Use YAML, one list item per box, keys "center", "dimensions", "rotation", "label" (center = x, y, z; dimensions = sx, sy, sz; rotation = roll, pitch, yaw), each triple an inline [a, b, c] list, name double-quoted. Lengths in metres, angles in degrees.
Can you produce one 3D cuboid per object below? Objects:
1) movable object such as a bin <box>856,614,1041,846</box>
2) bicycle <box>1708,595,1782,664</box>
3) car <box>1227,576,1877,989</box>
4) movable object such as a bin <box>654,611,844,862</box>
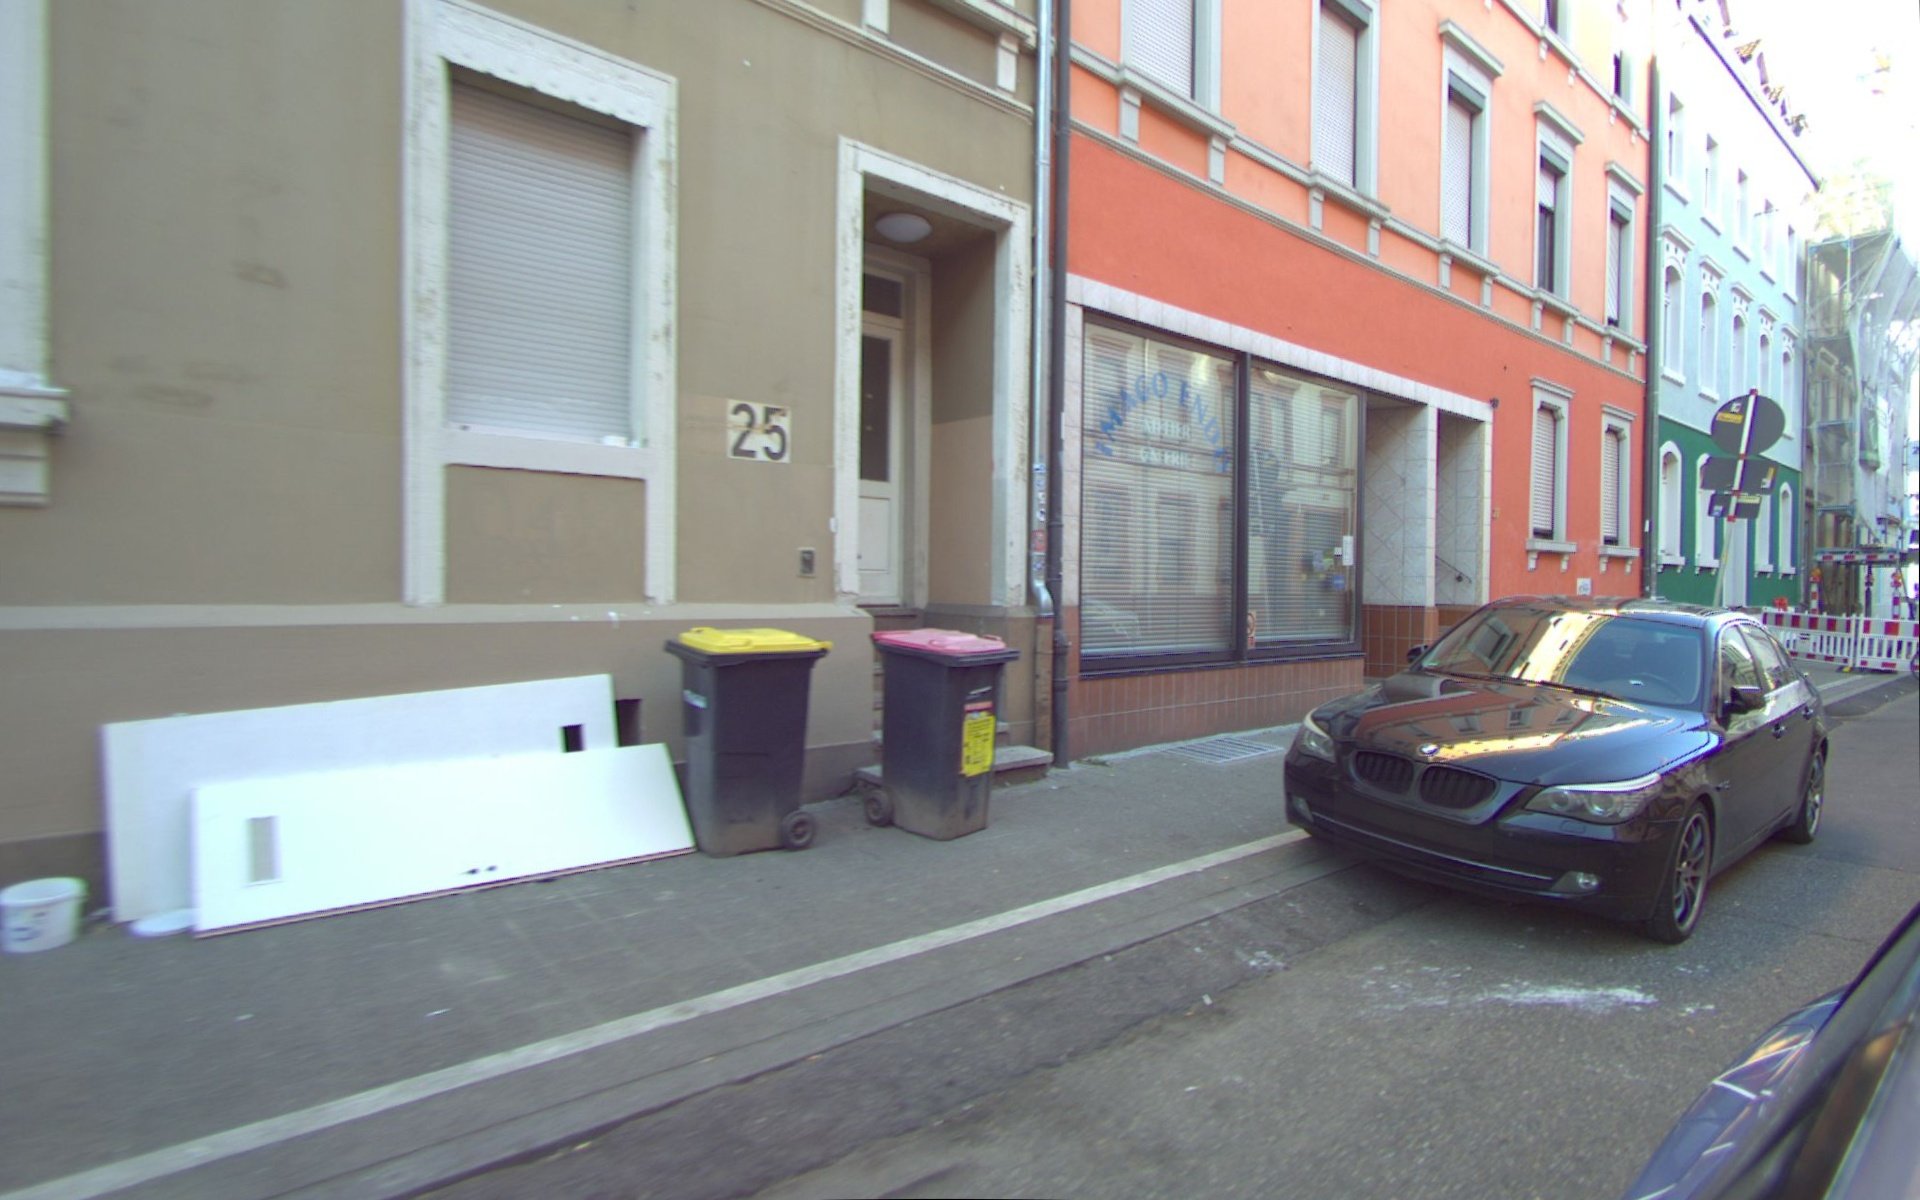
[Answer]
- center: [-0.066, 0.658, 5.553]
  dimensions: [0.736, 1.088, 0.667]
  rotation: [5, 4, 43]
  label: "movable object such as a bin"
- center: [14.658, 0.524, 18.874]
  dimensions: [1.802, 1.141, 0.656]
  rotation: [-1, 6, -41]
  label: "bicycle"
- center: [3.744, 0.626, 5.960]
  dimensions: [4.707, 1.456, 1.821]
  rotation: [-1, 4, -41]
  label: "car"
- center: [-1.094, 0.636, 5.169]
  dimensions: [0.665, 1.088, 0.810]
  rotation: [0, 4, -35]
  label: "movable object such as a bin"
